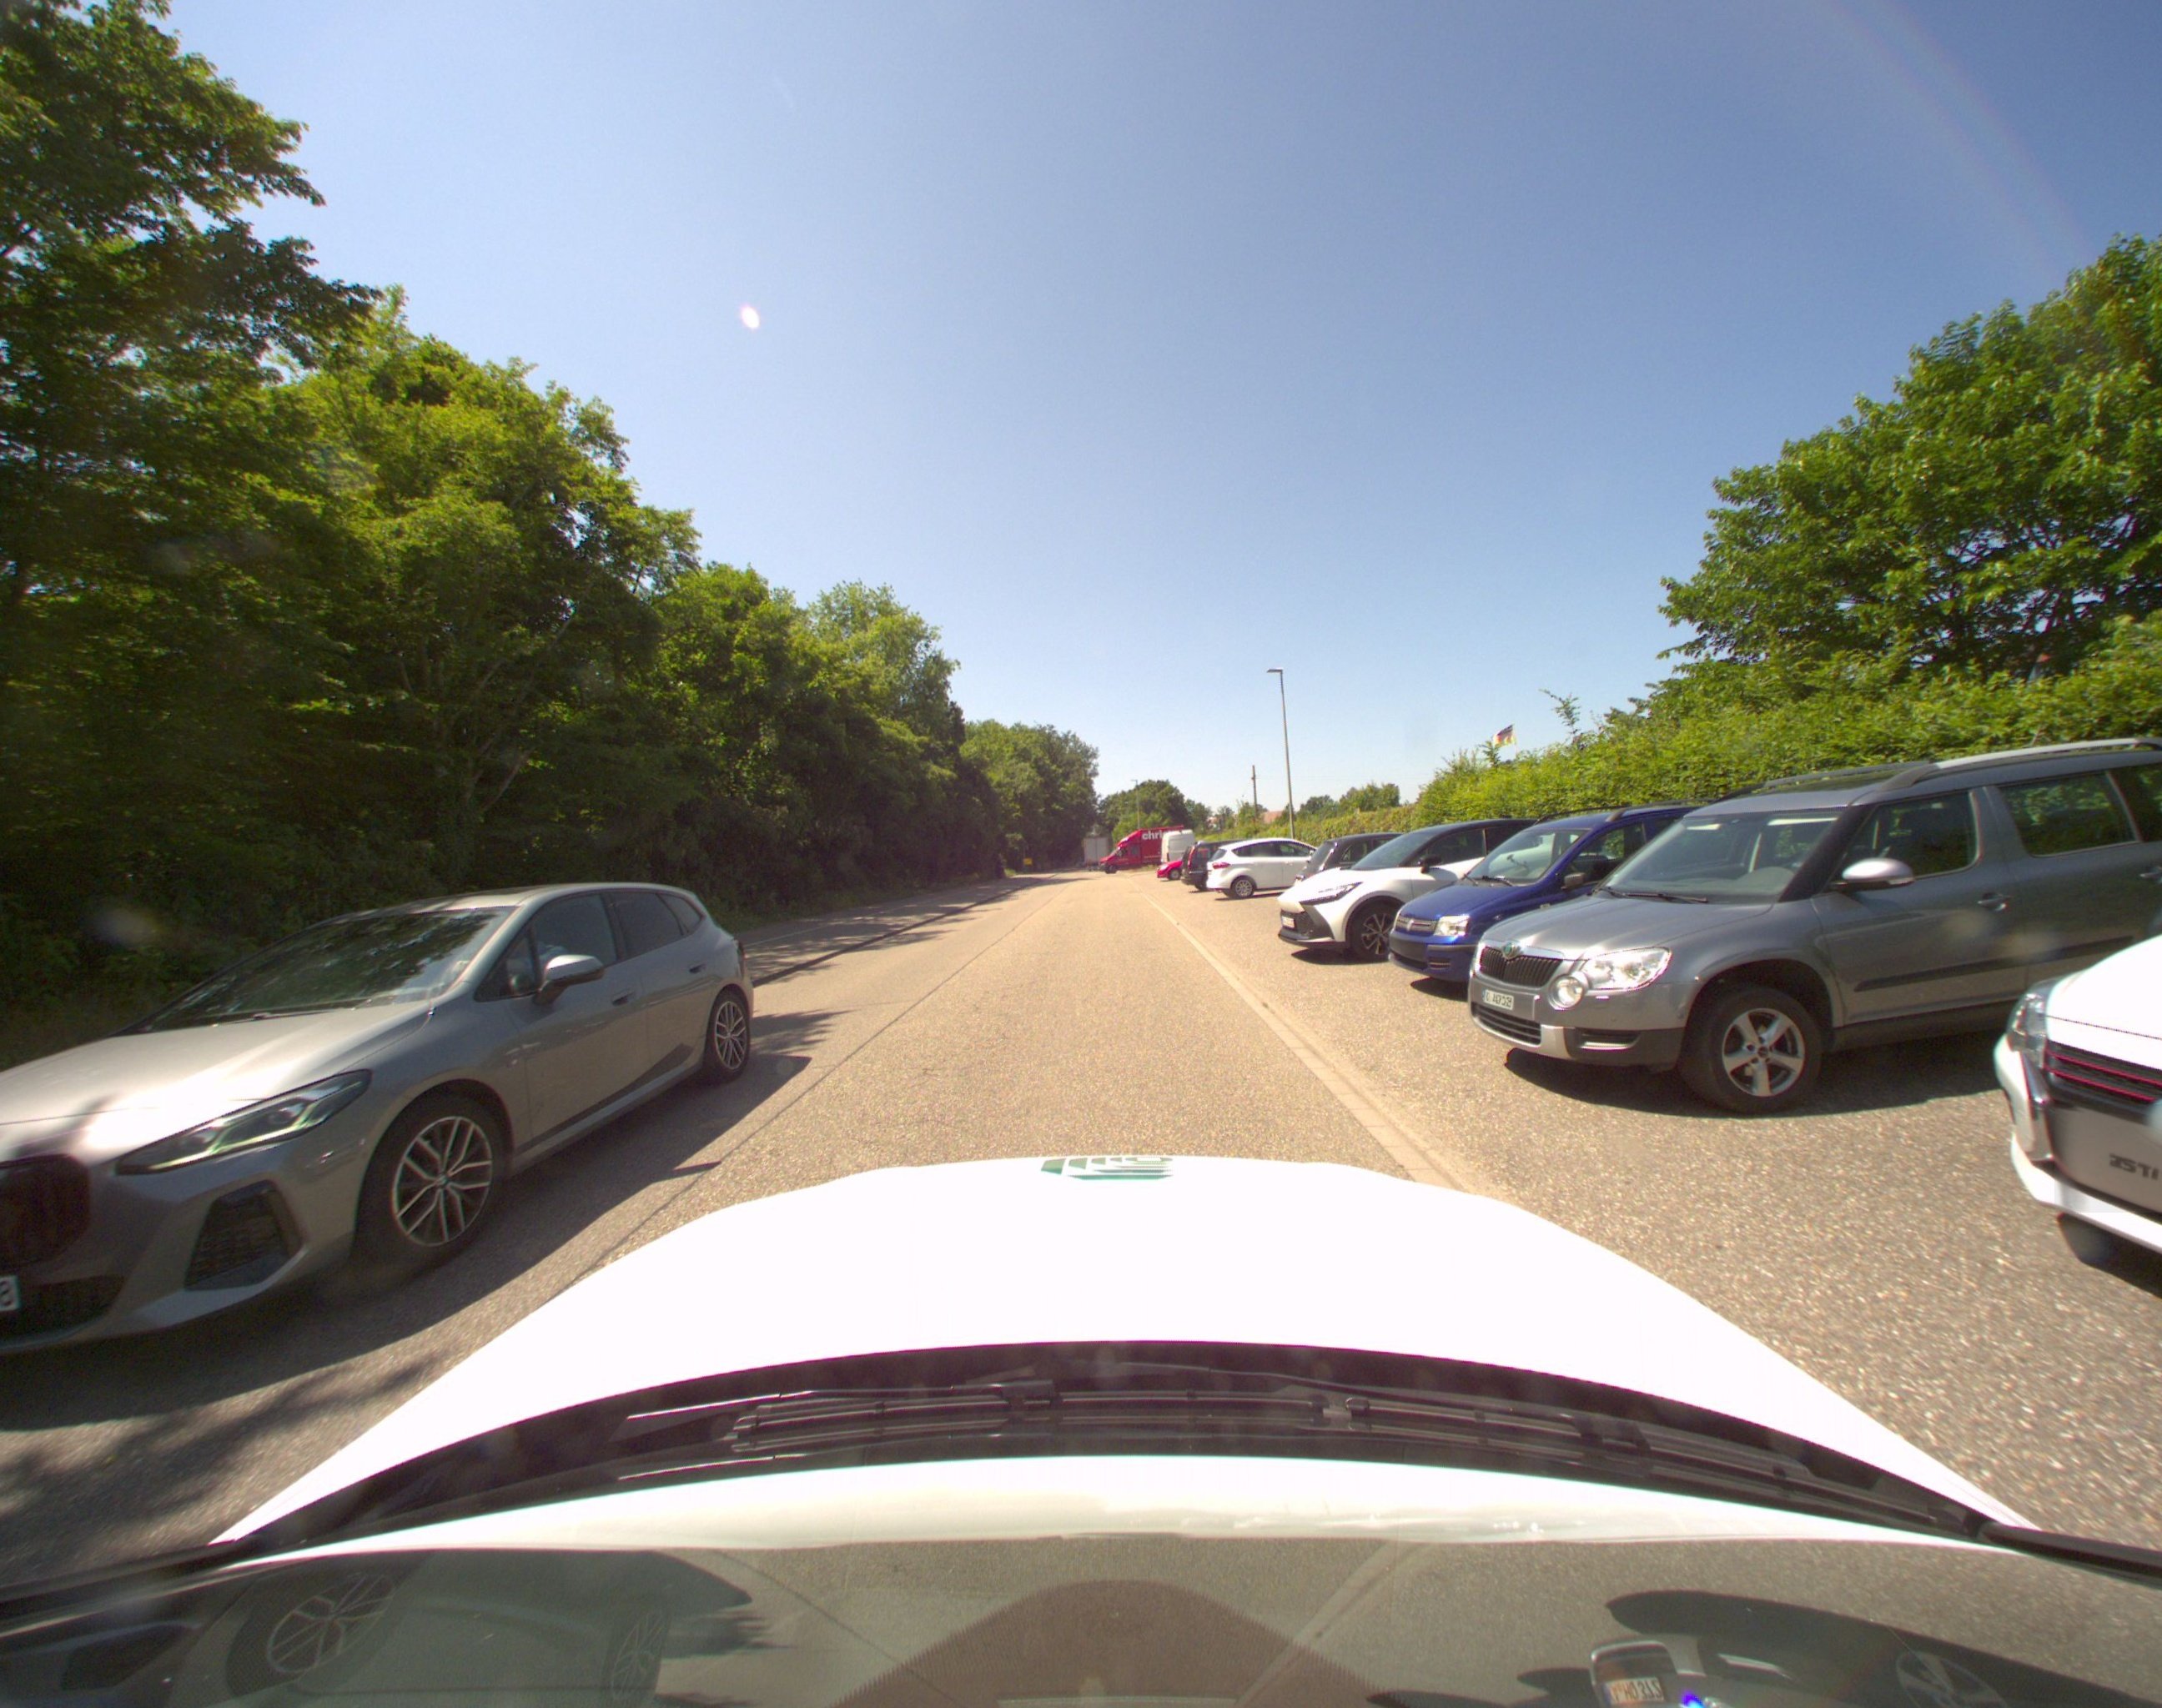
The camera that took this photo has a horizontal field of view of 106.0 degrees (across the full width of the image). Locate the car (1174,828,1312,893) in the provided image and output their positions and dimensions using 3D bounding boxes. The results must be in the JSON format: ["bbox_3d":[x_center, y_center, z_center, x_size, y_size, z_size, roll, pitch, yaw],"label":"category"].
[{"bbox_3d":[5.787,0.237,29.467,4.443,1.804,1.950,-6,-1,-3],"label":"car"}]

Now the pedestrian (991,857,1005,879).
[{"bbox_3d":[-6.574,1.121,64.523,0.802,1.718,0.780,-3,-1,17],"label":"pedestrian"}]

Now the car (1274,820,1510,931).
[{"bbox_3d":[5.210,0.345,13.987,3.372,1.503,1.590,-5,0,4],"label":"car"}]

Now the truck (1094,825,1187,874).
[{"bbox_3d":[4.836,-0.395,66.439,7.128,3.439,2.325,-4,1,-6],"label":"truck"}]

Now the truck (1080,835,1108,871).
[{"bbox_3d":[1.632,-0.081,94.410,2.723,3.746,13.252,-2,0,2],"label":"truck"}]

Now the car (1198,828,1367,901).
[{"bbox_3d":[5.662,0.284,23.254,4.264,1.578,1.765,-6,0,-1],"label":"car"}]

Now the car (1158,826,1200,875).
[{"bbox_3d":[6.259,-0.225,52.846,1.946,2.733,7.171,-6,0,2],"label":"car"}]

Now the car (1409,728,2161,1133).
[{"bbox_3d":[4.386,0.325,5.000,3.954,1.640,1.661,-7,0,-5],"label":"car"}]

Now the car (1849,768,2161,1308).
[{"bbox_3d":[4.742,0.320,2.148,3.673,1.450,1.612,-7,0,4],"label":"car"}]

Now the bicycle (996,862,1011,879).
[{"bbox_3d":[-6.161,1.298,64.535,0.518,1.236,1.968,-2,-1,14],"label":"bicycle"}]

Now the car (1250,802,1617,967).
[{"bbox_3d":[4.508,0.365,10.811,3.956,1.522,1.861,-7,0,-5],"label":"car"}]

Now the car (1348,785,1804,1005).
[{"bbox_3d":[4.658,0.347,7.956,3.446,1.527,1.537,-7,0,-4],"label":"car"}]

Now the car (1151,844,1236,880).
[{"bbox_3d":[5.816,0.427,42.353,4.043,1.434,1.834,-6,0,-2],"label":"car"}]

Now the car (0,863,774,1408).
[{"bbox_3d":[-3.551,0.945,4.556,1.885,1.532,4.196,-7,0,0],"label":"car"}]
